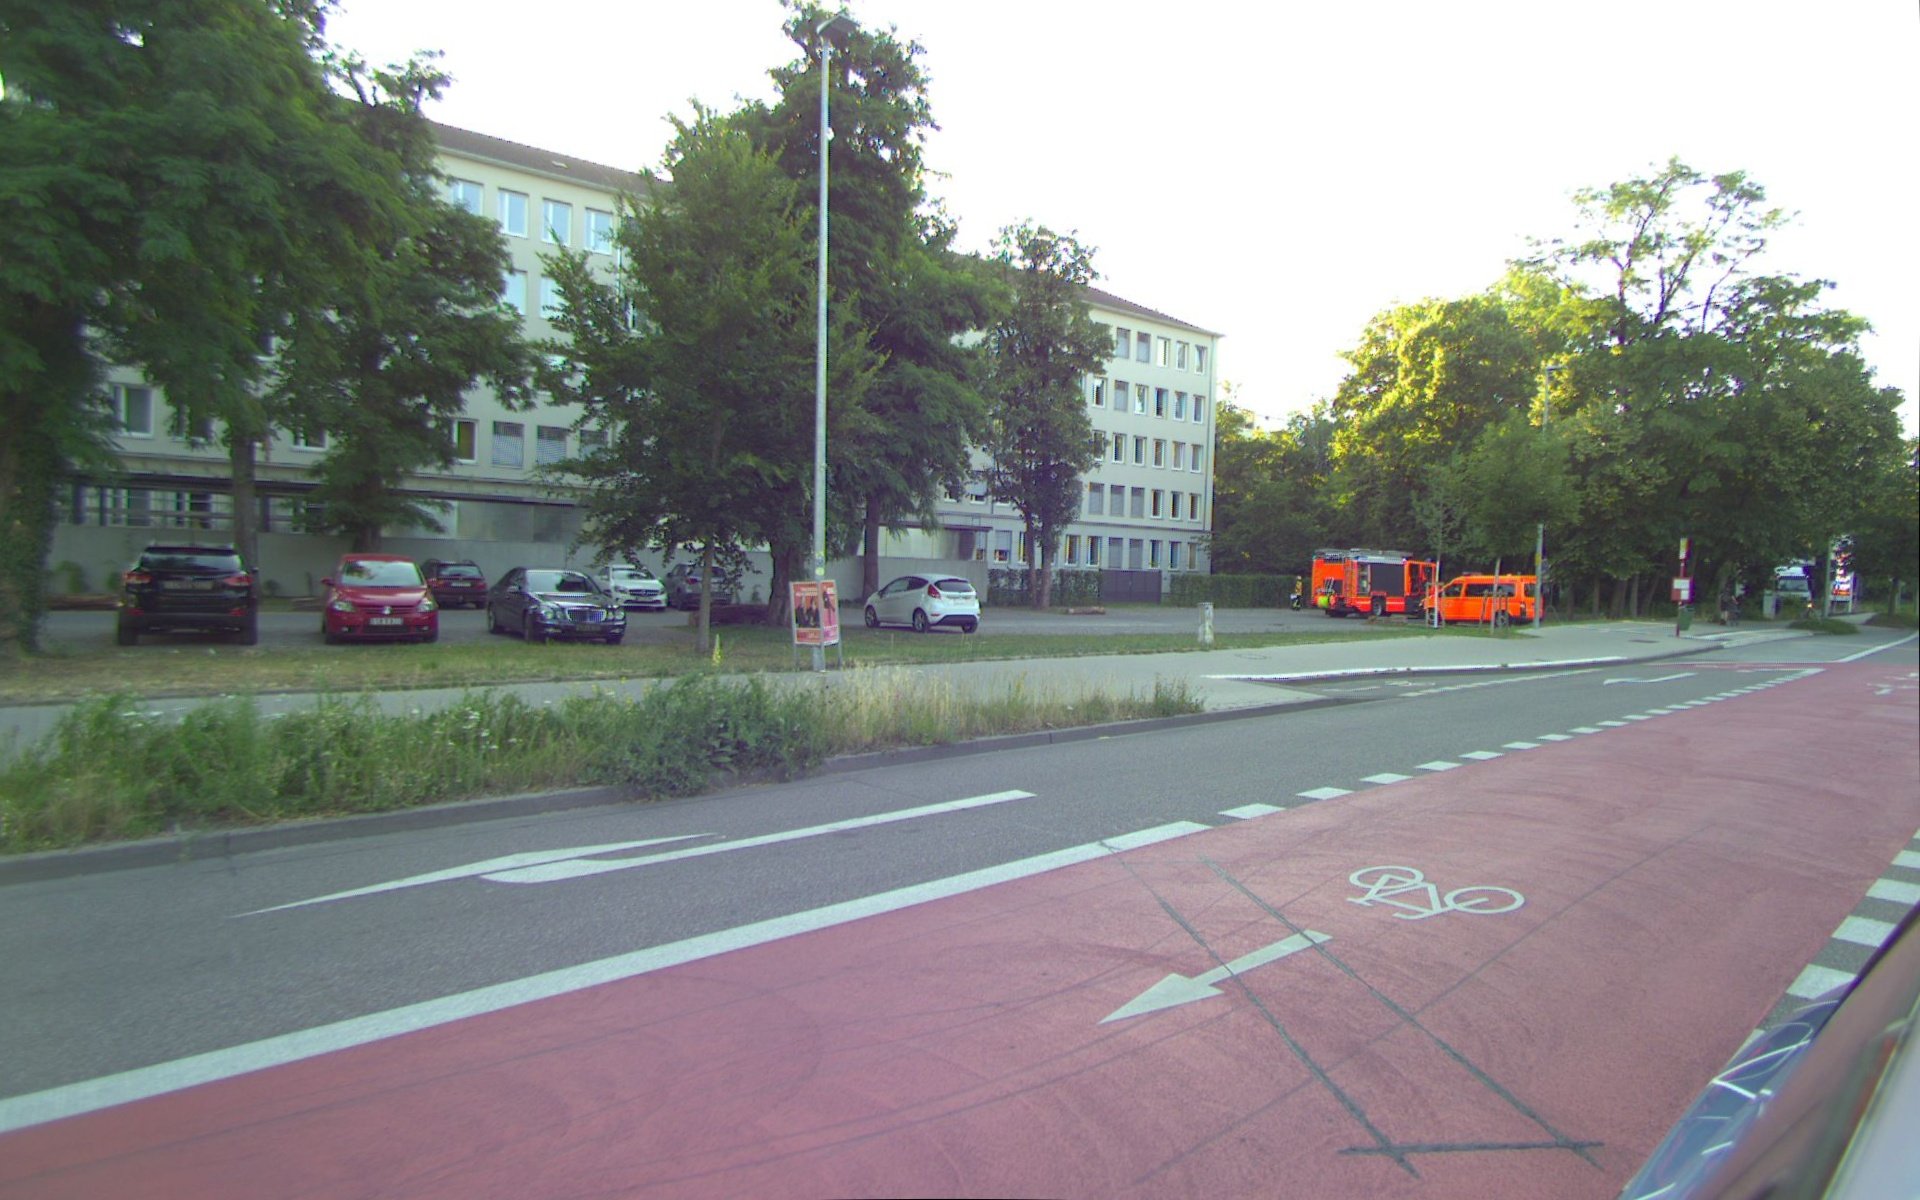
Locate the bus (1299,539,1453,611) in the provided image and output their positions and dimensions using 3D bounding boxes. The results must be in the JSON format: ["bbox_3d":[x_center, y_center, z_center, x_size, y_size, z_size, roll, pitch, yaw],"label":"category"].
[{"bbox_3d":[20.153,-1.144,48.891,7.810,3.236,2.999,0,1,-34],"label":"bus"}]

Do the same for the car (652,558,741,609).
[{"bbox_3d":[-9.099,-0.587,34.768,1.875,1.637,4.004,-1,2,-31],"label":"car"}]

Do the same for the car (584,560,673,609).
[{"bbox_3d":[-10.891,-0.531,33.074,1.798,1.494,4.002,0,1,-33],"label":"car"}]

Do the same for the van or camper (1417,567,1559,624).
[{"bbox_3d":[22.238,-0.238,42.840,2.249,2.272,4.833,0,1,-32],"label":"van or camper"}]

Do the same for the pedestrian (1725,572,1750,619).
[{"bbox_3d":[34.716,-0.219,45.175,0.683,2.038,0.724,0,2,-43],"label":"pedestrian"}]

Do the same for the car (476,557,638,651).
[{"bbox_3d":[-8.207,-0.027,20.352,1.866,1.466,4.584,-2,5,-37],"label":"car"}]

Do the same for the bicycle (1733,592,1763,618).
[{"bbox_3d":[34.646,0.195,44.493,1.937,1.111,0.831,0,0,-45],"label":"bicycle"}]

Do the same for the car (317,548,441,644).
[{"bbox_3d":[-10.916,-0.146,18.895,1.751,1.580,4.003,1,2,-33],"label":"car"}]

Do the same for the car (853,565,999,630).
[{"bbox_3d":[-0.956,-0.122,26.384,1.876,1.556,3.999,0,1,-37],"label":"car"}]

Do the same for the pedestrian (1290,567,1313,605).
[{"bbox_3d":[18.501,-0.746,54.851,0.810,2.038,0.774,1,2,-32],"label":"pedestrian"}]

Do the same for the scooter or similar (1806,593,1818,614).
[{"bbox_3d":[52.704,0.215,62.624,0.482,1.297,1.213,5,3,41],"label":"scooter or similar"}]

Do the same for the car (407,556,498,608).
[{"bbox_3d":[-15.213,-0.553,30.222,1.866,1.460,4.001,0,1,-35],"label":"car"}]

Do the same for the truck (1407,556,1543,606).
[{"bbox_3d":[35.951,-1.414,71.159,2.703,3.250,8.683,1,2,-24],"label":"truck"}]

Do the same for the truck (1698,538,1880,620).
[{"bbox_3d":[63.857,-1.689,78.817,5.087,5.642,15.014,2,2,15],"label":"truck"}]

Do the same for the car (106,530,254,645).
[{"bbox_3d":[-13.162,-0.241,17.239,1.802,1.715,3.910,0,1,-36],"label":"car"}]
